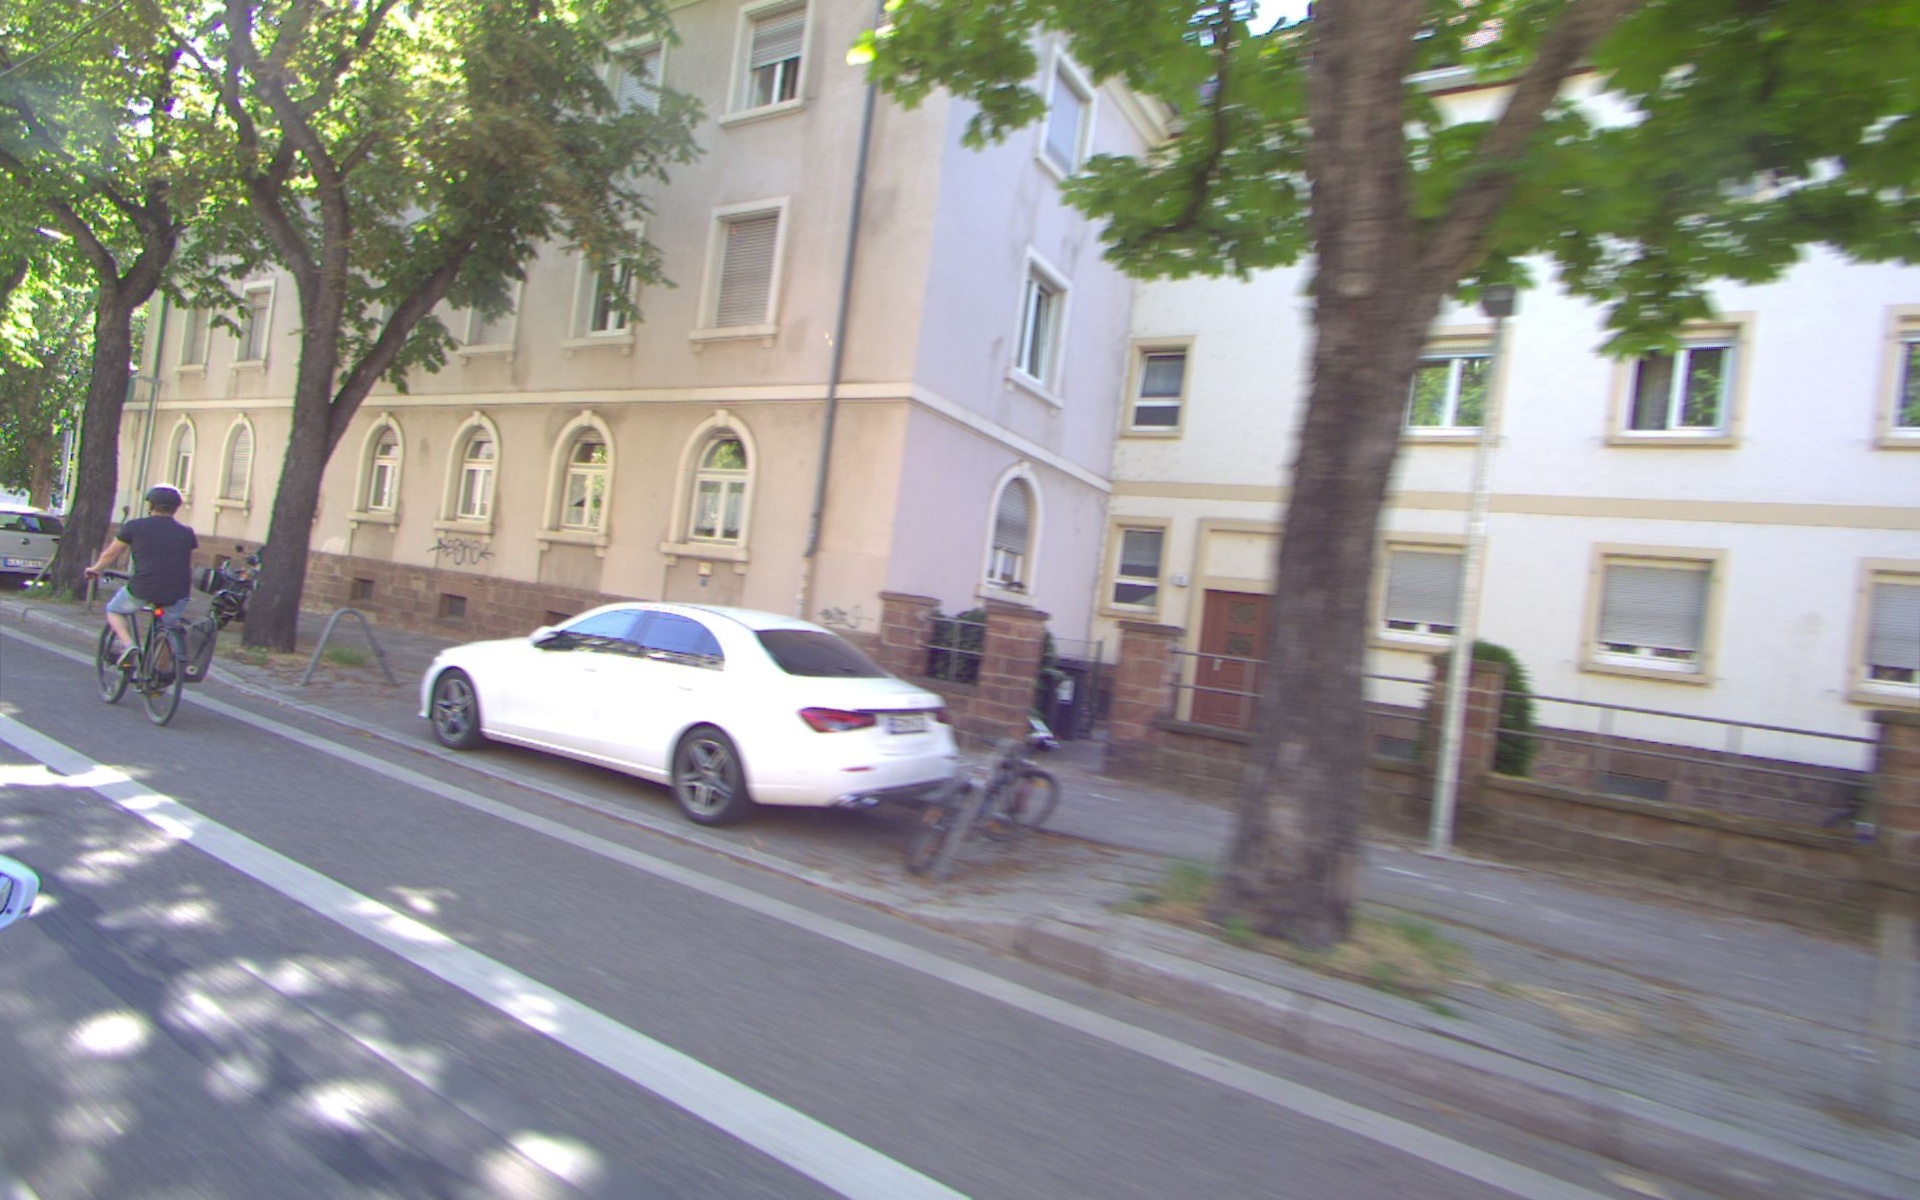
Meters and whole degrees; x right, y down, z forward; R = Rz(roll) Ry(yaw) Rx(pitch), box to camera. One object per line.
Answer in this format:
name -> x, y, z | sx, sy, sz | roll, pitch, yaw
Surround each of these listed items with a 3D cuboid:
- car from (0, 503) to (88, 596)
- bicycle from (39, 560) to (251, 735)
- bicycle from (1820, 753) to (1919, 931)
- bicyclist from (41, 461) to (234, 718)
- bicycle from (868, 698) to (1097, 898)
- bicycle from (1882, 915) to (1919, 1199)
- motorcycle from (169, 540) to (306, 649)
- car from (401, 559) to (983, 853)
car -> -17.544, -1.043, 18.033 | 3.934, 1.437, 1.751 | 7, 0, 32
bicycle -> -6.432, 0.360, 7.919 | 1.690, 1.125, 0.693 | 7, -2, 33
bicycle -> 7.475, 1.891, 7.579 | 1.351, 1.237, 0.435 | 7, -2, 33
bicyclist -> -6.450, -0.073, 7.901 | 0.823, 1.869, 0.729 | 7, -2, 32
bicycle -> 0.217, 1.238, 6.740 | 0.610, 1.032, 1.794 | 7, 1, 32
bicycle -> 3.271, 1.512, 2.073 | 1.886, 1.125, 0.693 | 7, -2, 33
motorcycle -> -10.099, -0.095, 14.034 | 2.149, 1.258, 0.710 | 7, 0, 32
car -> -2.282, 0.679, 8.096 | 4.585, 1.453, 1.631 | 7, -1, 30
